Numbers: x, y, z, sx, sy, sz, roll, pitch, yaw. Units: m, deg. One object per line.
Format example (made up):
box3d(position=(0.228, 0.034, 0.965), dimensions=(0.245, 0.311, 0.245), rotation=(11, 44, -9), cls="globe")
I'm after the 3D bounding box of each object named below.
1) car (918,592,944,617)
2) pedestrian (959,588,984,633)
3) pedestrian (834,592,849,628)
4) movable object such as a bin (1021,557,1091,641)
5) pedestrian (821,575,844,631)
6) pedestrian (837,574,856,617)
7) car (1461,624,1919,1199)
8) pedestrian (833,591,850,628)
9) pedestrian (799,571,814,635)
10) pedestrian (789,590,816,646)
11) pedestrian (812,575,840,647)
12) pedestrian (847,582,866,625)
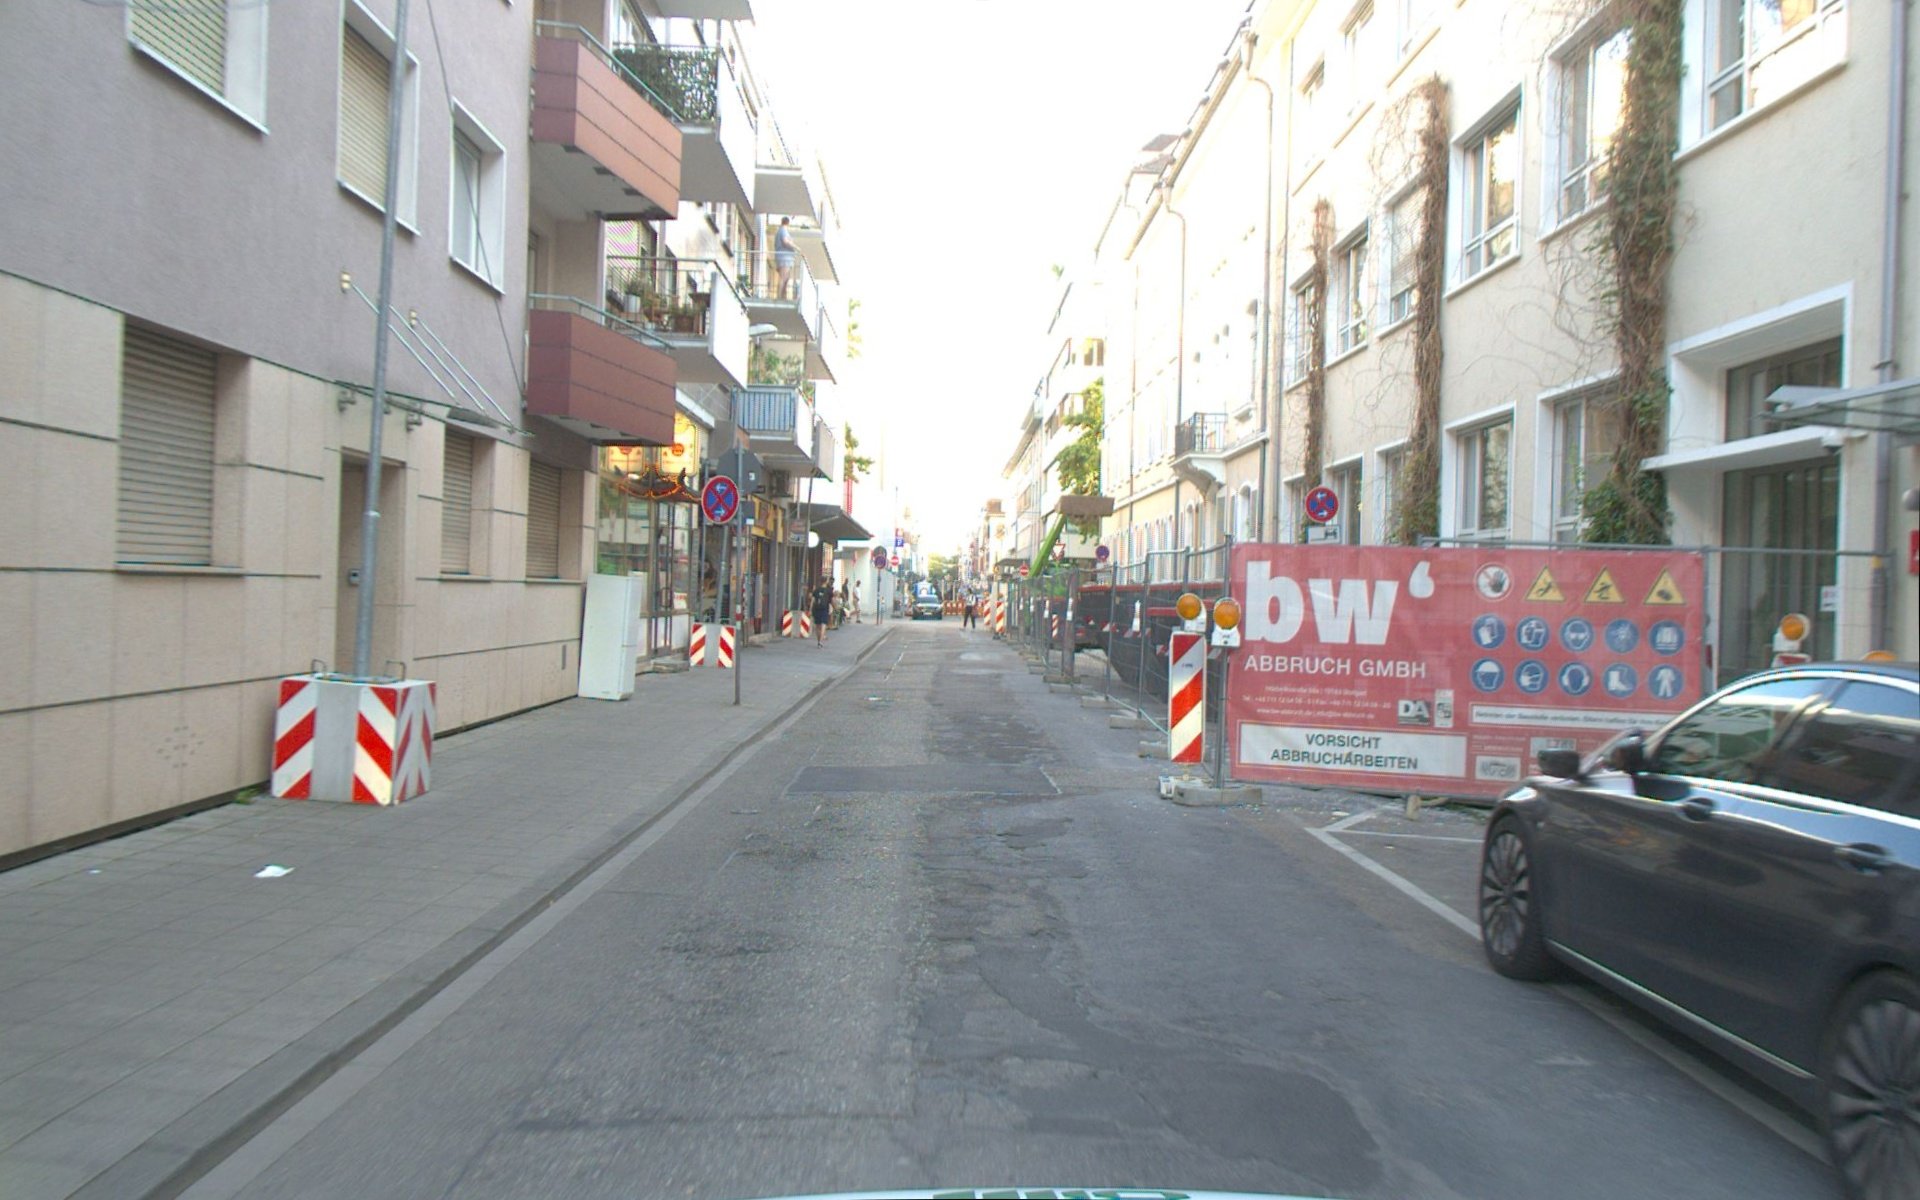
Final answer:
box3d(position=(-1.709, 0.274, 97.940), dimensions=(1.444, 1.422, 3.331), rotation=(1, 0, -1), cls="car")
box3d(position=(0.458, 0.415, 65.643), dimensions=(0.642, 1.770, 0.711), rotation=(2, 0, -44), cls="pedestrian")
box3d(position=(-4.689, 0.394, 65.488), dimensions=(0.531, 1.412, 0.625), rotation=(1, 0, 0), cls="pedestrian")
box3d(position=(3.836, -0.099, 66.692), dimensions=(2.420, 3.185, 4.297), rotation=(2, 1, -1), cls="movable object such as a bin")
box3d(position=(-4.429, 0.087, 57.327), dimensions=(0.565, 1.919, 0.651), rotation=(1, 0, -24), cls="pedestrian")
box3d(position=(-4.995, -0.196, 72.796), dimensions=(0.635, 1.841, 0.628), rotation=(2, 0, -17), cls="pedestrian")
box3d(position=(3.137, 0.872, 5.234), dimensions=(1.659, 1.430, 4.479), rotation=(2, 0, -1), cls="car")
box3d(position=(-4.613, 0.383, 64.343), dimensions=(0.547, 1.415, 0.892), rotation=(2, 0, -1), cls="pedestrian")
box3d(position=(-5.014, 0.093, 54.067), dimensions=(0.402, 2.049, 0.453), rotation=(2, 0, -3), cls="pedestrian")
box3d(position=(-4.549, 0.522, 47.742), dimensions=(0.635, 1.592, 0.628), rotation=(1, 0, -16), cls="pedestrian")
box3d(position=(-3.463, 0.284, 42.775), dimensions=(0.616, 1.840, 0.647), rotation=(1, 0, 1), cls="pedestrian")
box3d(position=(-4.497, 0.144, 71.933), dimensions=(0.635, 1.841, 0.628), rotation=(2, 0, -17), cls="pedestrian")
